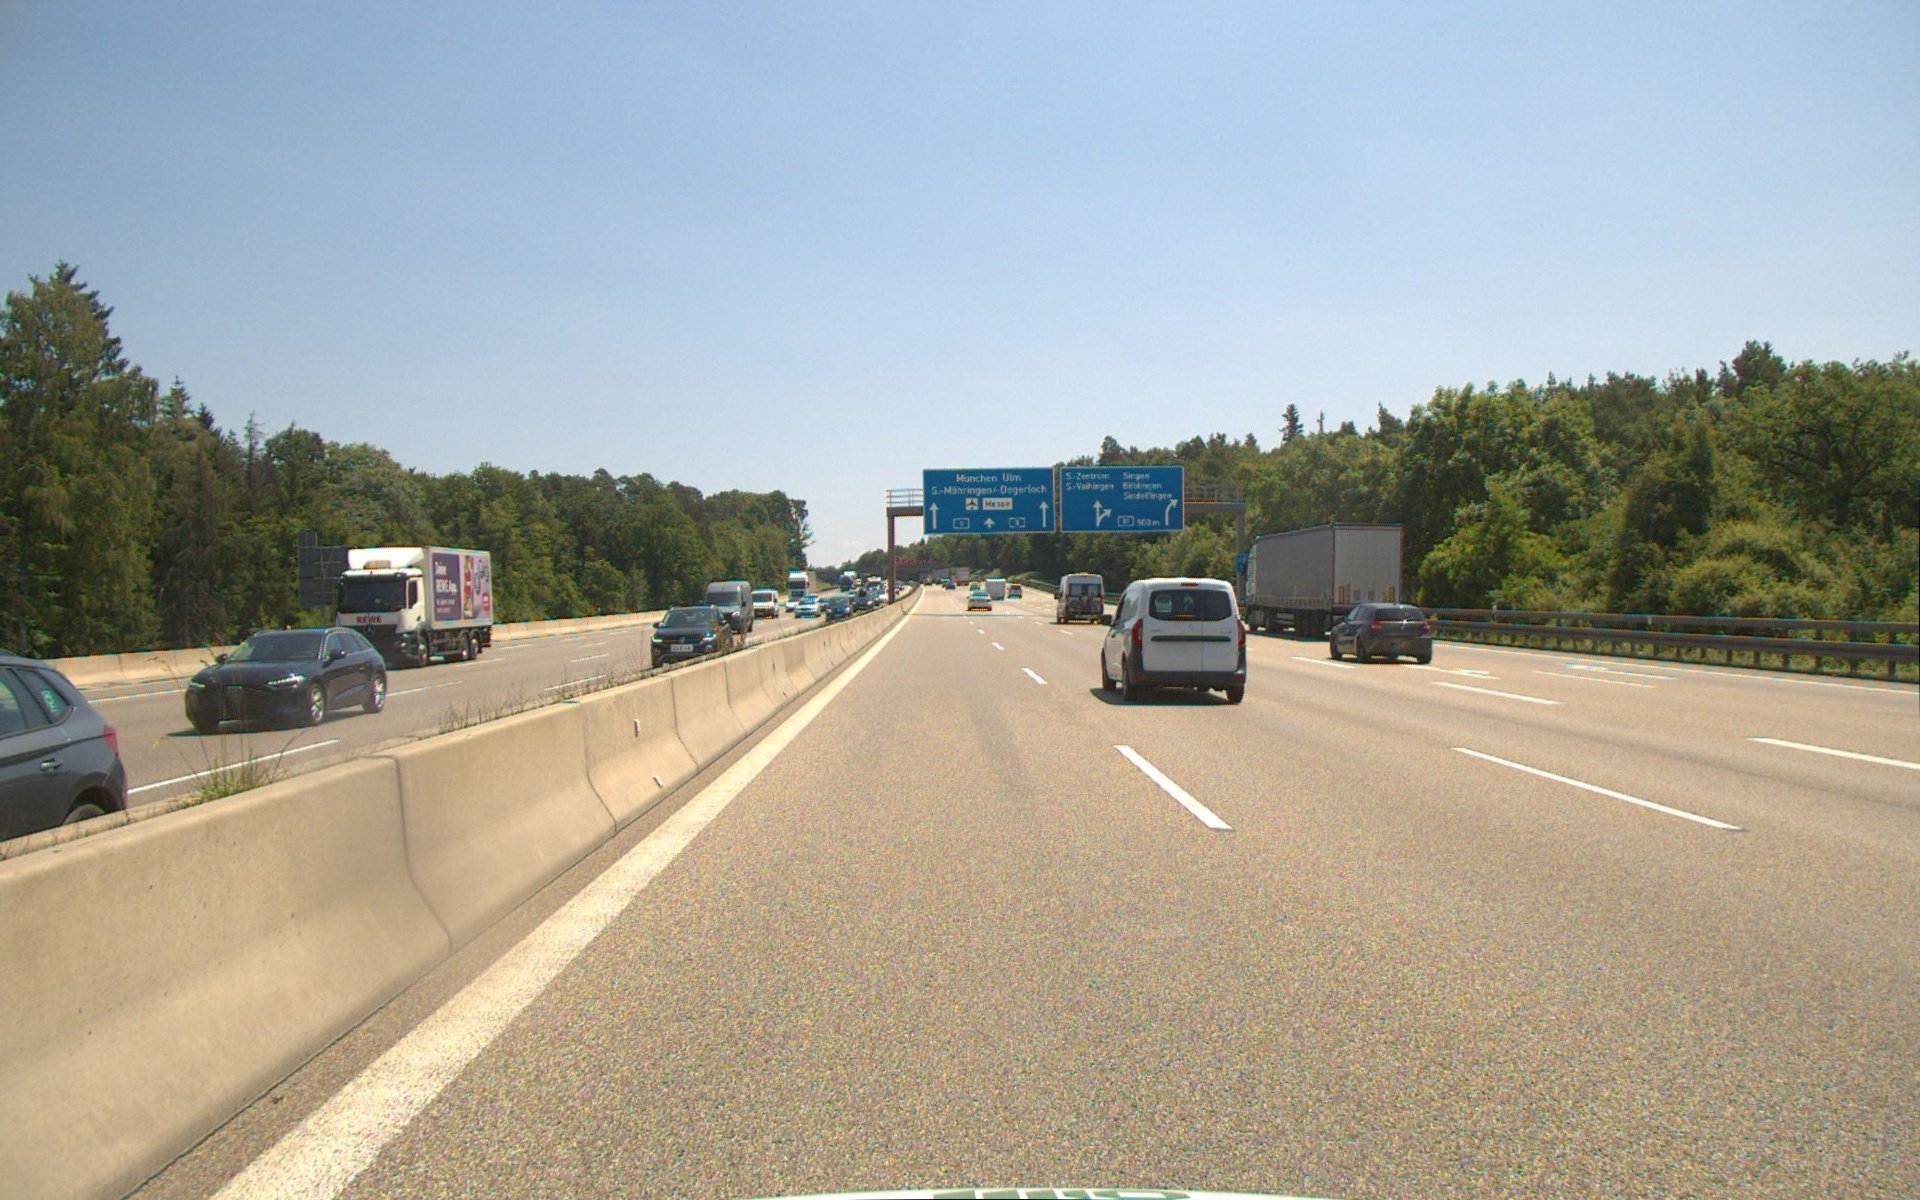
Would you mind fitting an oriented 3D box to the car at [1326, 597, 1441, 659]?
[{"bbox_3d":[10.293,0.646,40.473,1.636,1.295,4.290,-1,1,-1],"label":"car"}]

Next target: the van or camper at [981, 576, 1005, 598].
[{"bbox_3d":[3.998,-1.547,199.884,2.591,2.583,6.500,-1,0,-1],"label":"van or camper"}]

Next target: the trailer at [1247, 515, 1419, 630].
[{"bbox_3d":[14.216,-1.043,64.601,3.221,3.999,13.887,1,1,-1],"label":"trailer"}]

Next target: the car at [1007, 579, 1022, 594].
[{"bbox_3d":[7.150,-1.797,218.030,1.783,1.892,3.999,-1,1,-1],"label":"car"}]

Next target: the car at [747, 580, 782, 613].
[{"bbox_3d":[-15.303,-0.251,129.807,1.891,2.455,6.624,-3,0,-1],"label":"car"}]

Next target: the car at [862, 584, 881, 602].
[{"bbox_3d":[-8.821,-0.693,165.127,1.719,1.702,4.202,-2,1,-2],"label":"car"}]

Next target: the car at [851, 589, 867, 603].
[{"bbox_3d":[-12.503,-0.452,204.980,1.781,1.617,4.881,-3,1,-2],"label":"car"}]

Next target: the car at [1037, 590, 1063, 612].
[{"bbox_3d":[6.975,0.090,128.507,1.781,1.668,3.999,-2,0,-1],"label":"car"}]

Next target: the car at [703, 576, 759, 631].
[{"bbox_3d":[-11.597,0.129,84.311,1.891,2.652,7.229,-2,1,-1],"label":"car"}]

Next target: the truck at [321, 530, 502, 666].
[{"bbox_3d":[-18.035,-0.033,55.234,2.664,4.008,10.233,-2,0,-1],"label":"truck"}]

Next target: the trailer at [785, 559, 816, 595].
[{"bbox_3d":[-20.549,-2.913,213.451,2.699,4.320,13.715,-2,0,-1],"label":"trailer"}]

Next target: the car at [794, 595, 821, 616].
[{"bbox_3d":[-11.682,0.394,126.620,1.644,1.469,4.525,-2,0,-1],"label":"car"}]

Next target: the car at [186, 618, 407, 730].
[{"bbox_3d":[-10.584,1.115,26.809,1.683,1.475,4.907,-2,1,-2],"label":"car"}]

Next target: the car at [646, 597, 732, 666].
[{"bbox_3d":[-6.978,0.780,42.932,1.581,1.691,3.849,-1,0,0],"label":"car"}]

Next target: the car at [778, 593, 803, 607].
[{"bbox_3d":[-16.265,0.001,159.188,1.952,1.329,4.844,-1,0,-1],"label":"car"}]

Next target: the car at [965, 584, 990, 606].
[{"bbox_3d":[1.351,-0.366,128.475,1.805,1.657,4.552,-2,0,-1],"label":"car"}]

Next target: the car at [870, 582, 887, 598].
[{"bbox_3d":[-9.194,-1.159,186.493,1.776,1.702,4.475,-2,1,-1],"label":"car"}]

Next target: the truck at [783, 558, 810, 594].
[{"bbox_3d":[-20.420,-2.957,207.214,2.704,4.294,6.376,-2,0,-1],"label":"truck"}]

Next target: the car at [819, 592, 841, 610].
[{"bbox_3d":[-11.436,0.073,146.154,1.644,1.469,3.993,-2,0,-1],"label":"car"}]

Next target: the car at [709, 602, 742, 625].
[{"bbox_3d":[-15.595,0.890,110.298,1.644,1.469,4.021,-2,0,-1],"label":"car"}]

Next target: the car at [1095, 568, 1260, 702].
[{"bbox_3d":[3.295,0.510,25.885,1.822,1.857,4.610,-2,0,-2],"label":"car"}]

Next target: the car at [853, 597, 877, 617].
[{"bbox_3d":[-8.247,0.583,143.921,1.832,1.634,5.227,-2,0,-1],"label":"car"}]

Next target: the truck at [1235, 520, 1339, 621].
[{"bbox_3d":[14.013,-1.256,71.361,3.188,4.178,5.986,0,1,-1],"label":"truck"}]

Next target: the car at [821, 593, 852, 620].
[{"bbox_3d":[-7.913,0.402,106.221,1.670,1.691,3.759,-1,0,-1],"label":"car"}]

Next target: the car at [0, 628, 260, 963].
[{"bbox_3d":[-5.463,0.990,8.737,1.682,1.538,4.350,-2,0,-1],"label":"car"}]

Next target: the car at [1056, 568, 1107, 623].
[{"bbox_3d":[6.265,-0.215,85.965,2.100,2.698,5.708,-2,0,-1],"label":"car"}]
